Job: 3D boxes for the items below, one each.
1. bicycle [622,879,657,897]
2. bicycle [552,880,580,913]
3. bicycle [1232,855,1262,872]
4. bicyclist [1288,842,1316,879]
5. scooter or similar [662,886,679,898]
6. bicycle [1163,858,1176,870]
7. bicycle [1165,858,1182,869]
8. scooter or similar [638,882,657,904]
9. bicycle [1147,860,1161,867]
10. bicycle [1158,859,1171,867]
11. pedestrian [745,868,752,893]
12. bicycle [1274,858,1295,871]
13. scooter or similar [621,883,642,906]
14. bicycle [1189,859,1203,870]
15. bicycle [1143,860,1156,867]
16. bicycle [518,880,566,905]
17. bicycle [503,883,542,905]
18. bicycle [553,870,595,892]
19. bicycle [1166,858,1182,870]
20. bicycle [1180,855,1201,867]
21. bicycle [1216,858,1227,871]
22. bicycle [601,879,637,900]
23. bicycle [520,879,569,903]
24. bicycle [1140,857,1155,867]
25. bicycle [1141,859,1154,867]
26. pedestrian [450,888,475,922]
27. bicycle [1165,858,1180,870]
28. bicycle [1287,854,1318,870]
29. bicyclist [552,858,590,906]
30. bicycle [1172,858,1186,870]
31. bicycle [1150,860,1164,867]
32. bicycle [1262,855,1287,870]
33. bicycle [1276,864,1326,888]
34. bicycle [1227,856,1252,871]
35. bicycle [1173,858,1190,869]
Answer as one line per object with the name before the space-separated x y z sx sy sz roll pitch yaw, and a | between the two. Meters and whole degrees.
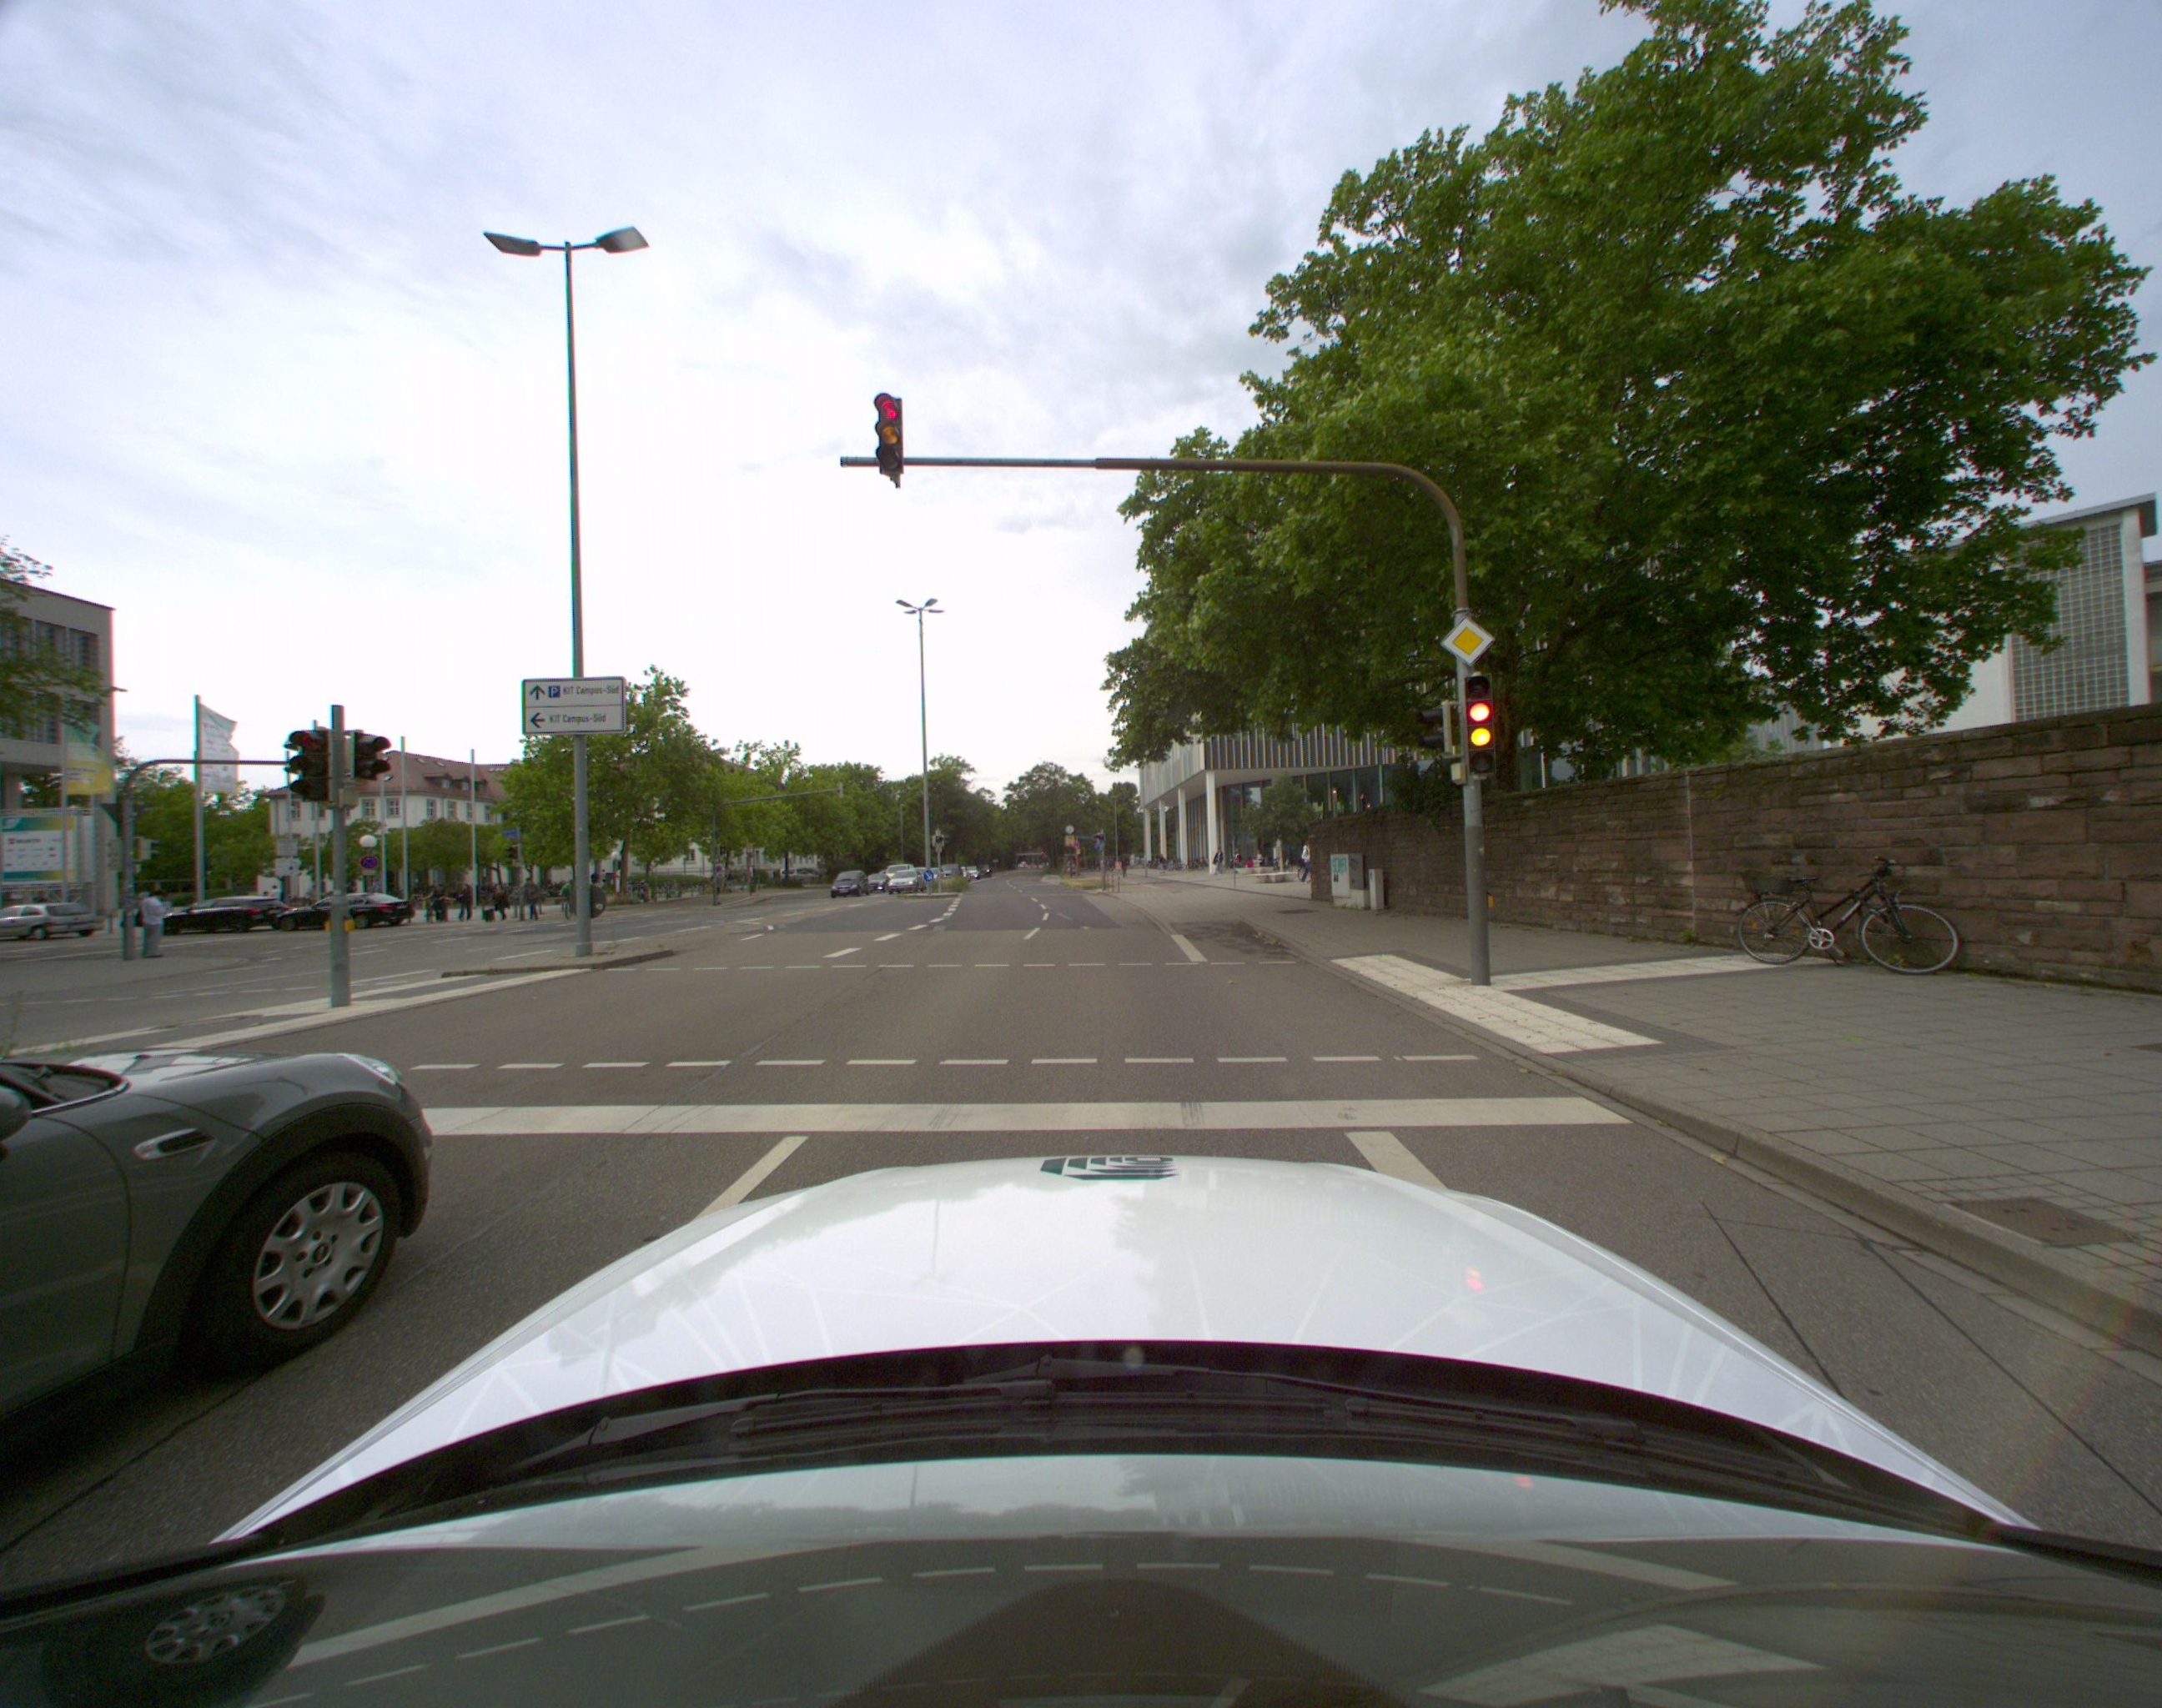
bicycle | -31.196 2.425 57.563 2.036 1.153 0.717 -2 -1 -20
bicycle | -22.179 1.811 35.119 0.607 1.333 2.294 0 -1 -21
bicycle | 12.446 0.704 61.001 2.736 1.188 0.765 -2 -1 -44
bicyclist | 9.819 0.294 36.182 0.957 1.645 0.740 -1 -1 37
scooter or similar | -25.455 2.323 50.482 0.405 0.693 1.289 0 -1 1
bicycle | 8.624 0.967 79.438 0.635 1.140 2.196 -5 0 -6
bicycle | 9.515 1.001 83.638 1.602 0.982 0.556 -5 -1 -2
scooter or similar | -23.866 2.163 44.853 0.359 1.140 1.318 -3 -1 -2
bicycle | 9.180 1.204 102.062 1.602 0.875 0.556 -3 -1 -2
bicycle | 9.255 1.003 90.010 1.280 0.875 0.556 -3 -1 -2
pedestrian | -24.194 1.927 59.274 0.419 1.739 0.433 0 -1 -9
bicycle | 14.627 0.759 58.517 0.663 0.899 1.857 -3 -1 39
scooter or similar | -23.839 2.149 43.233 0.359 1.140 1.318 -3 -1 -2
bicycle | 10.592 0.957 74.954 1.496 0.929 0.435 -3 1 -41
bicycle | 8.753 1.201 103.647 1.602 0.875 0.556 -3 -1 -2
bicycle | -37.222 2.646 56.238 2.657 1.559 0.779 -2 -1 -8
bicycle | -42.644 3.026 62.212 2.639 1.559 0.926 -3 -1 15
bicycle | -37.881 2.009 60.893 2.447 1.559 0.918 -2 -1 -13
bicycle | 9.751 1.063 85.231 1.636 1.091 0.573 -5 -1 6
bicycle | 11.471 0.753 85.397 1.962 1.144 0.652 -4 0 39
bicycle | 11.105 0.830 64.487 0.636 1.061 1.841 0 -1 2
bicycle | -38.024 2.881 67.064 2.396 1.594 0.720 -2 -1 -7
bicycle | -38.210 2.657 58.028 2.661 1.559 0.918 -2 -1 -13
bicycle | 8.654 1.061 106.601 1.791 1.082 0.625 -4 0 -4
bicycle | 8.585 1.138 104.600 1.602 0.875 0.556 -3 -1 -2
pedestrian | -26.663 2.190 35.121 0.702 1.428 0.991 0 -1 -30
bicycle | 9.306 1.013 83.059 1.396 1.043 0.559 -4 -1 -2
bicycle | 15.354 0.535 56.523 2.200 1.006 0.774 -2 -1 -32
bicyclist | -21.952 1.203 35.082 1.185 2.014 1.272 0 -1 -22
bicycle | 9.216 0.974 76.661 0.608 1.080 1.954 -4 0 -13
bicycle | 9.399 1.178 100.883 1.602 0.875 0.556 -3 -1 -2
bicycle | 14.060 0.619 59.135 1.971 1.002 0.765 -2 -1 -44
bicycle | 9.763 0.963 36.197 1.950 1.018 0.801 -1 -1 37
bicycle | 12.133 0.726 62.388 0.727 1.115 2.196 -3 -1 45
bicycle | 10.170 0.945 82.273 1.597 0.936 0.570 -5 0 8
